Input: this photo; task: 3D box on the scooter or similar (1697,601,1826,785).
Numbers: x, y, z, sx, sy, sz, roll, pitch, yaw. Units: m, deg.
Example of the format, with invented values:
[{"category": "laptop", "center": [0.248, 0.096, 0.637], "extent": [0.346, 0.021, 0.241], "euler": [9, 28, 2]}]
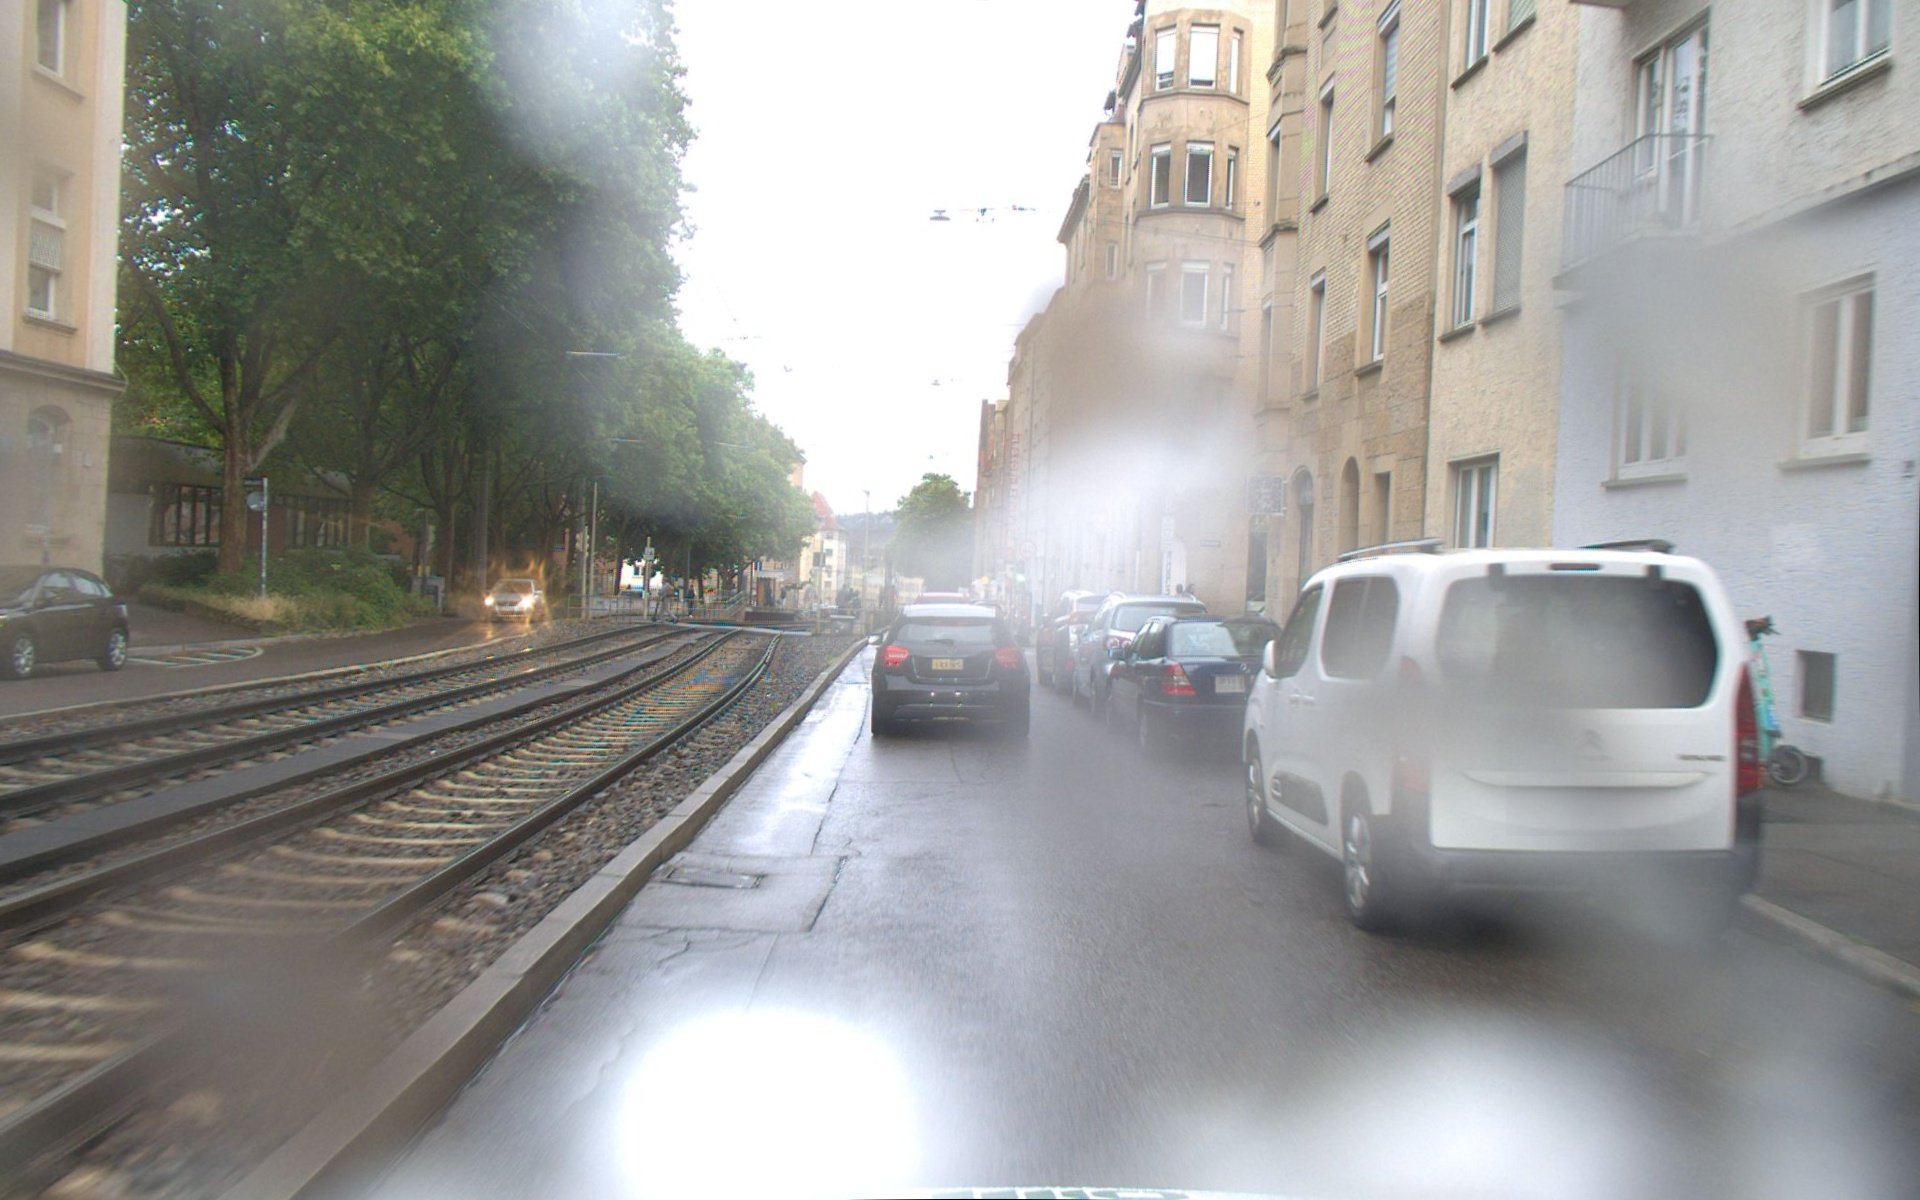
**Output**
[{"category": "scooter or similar", "center": [6.026, 0.670, 12.483], "extent": [0.379, 1.320, 1.171], "euler": [1, 0, -1]}]

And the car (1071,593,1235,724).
[{"category": "car", "center": [2.511, 0.727, 22.388], "extent": [1.659, 1.556, 3.999], "euler": [2, 0, -1]}]

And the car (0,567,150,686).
[{"category": "car", "center": [-12.511, 0.295, 22.065], "extent": [1.582, 1.454, 3.851], "euler": [1, 0, -2]}]

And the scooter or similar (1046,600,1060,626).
[{"category": "scooter or similar", "center": [4.898, 0.689, 87.177], "extent": [0.440, 1.344, 1.774], "euler": [0, 0, -8]}]

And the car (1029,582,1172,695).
[{"category": "car", "center": [2.279, 0.601, 27.829], "extent": [1.731, 1.697, 4.329], "euler": [2, 0, -4]}]

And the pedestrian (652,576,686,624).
[{"category": "pedestrian", "center": [-10.914, -0.007, 62.035], "extent": [1.033, 1.748, 0.904], "euler": [2, 0, 0]}]

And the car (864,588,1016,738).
[{"category": "car", "center": [-0.264, 0.663, 19.042], "extent": [1.548, 1.531, 3.573], "euler": [1, 0, -2]}]

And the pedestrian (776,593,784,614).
[{"category": "pedestrian", "center": [-14.799, 0.289, 136.206], "extent": [0.508, 1.747, 0.551], "euler": [3, -1, -1]}]

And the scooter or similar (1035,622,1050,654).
[{"category": "scooter or similar", "center": [3.631, 1.646, 72.529], "extent": [0.439, 1.344, 1.776], "euler": [0, 0, -4]}]

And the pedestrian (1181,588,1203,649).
[{"category": "pedestrian", "center": [6.557, 0.520, 46.757], "extent": [0.536, 1.718, 0.626], "euler": [1, 0, 3]}]

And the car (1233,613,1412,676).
[{"category": "car", "center": [9.376, 1.134, 43.006], "extent": [4.247, 1.558, 1.892], "euler": [0, 0, 0]}]

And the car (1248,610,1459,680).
[{"category": "car", "center": [8.815, 0.991, 37.344], "extent": [4.358, 1.510, 1.864], "euler": [0, 0, 1]}]

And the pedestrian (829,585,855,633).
[{"category": "pedestrian", "center": [-5.068, 0.367, 70.926], "extent": [1.115, 2.033, 1.171], "euler": [0, 0, -5]}]

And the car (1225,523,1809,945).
[{"category": "car", "center": [2.769, 0.578, 9.382], "extent": [1.791, 1.781, 4.467], "euler": [1, 0, 0]}]

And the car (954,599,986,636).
[{"category": "car", "center": [0.561, 1.003, 96.339], "extent": [1.724, 2.049, 3.999], "euler": [0, 0, -1]}]

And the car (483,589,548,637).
[{"category": "car", "center": [-15.099, 0.409, 56.333], "extent": [1.785, 1.531, 4.621], "euler": [2, 0, -11]}]

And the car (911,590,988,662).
[{"category": "car", "center": [-0.280, 0.603, 40.186], "extent": [1.749, 1.609, 3.999], "euler": [1, 0, -1]}]

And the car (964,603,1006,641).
[{"category": "car", "center": [1.143, 0.995, 76.544], "extent": [1.790, 1.646, 3.863], "euler": [0, 0, -1]}]

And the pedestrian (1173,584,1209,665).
[{"category": "pedestrian", "center": [5.267, 0.554, 37.715], "extent": [0.680, 1.818, 0.758], "euler": [-1, 0, -3]}]

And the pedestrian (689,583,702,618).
[{"category": "pedestrian", "center": [-14.002, 0.034, 87.547], "extent": [0.523, 1.784, 0.607], "euler": [3, -1, -1]}]

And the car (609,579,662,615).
[{"category": "car", "center": [-17.032, -0.168, 87.024], "extent": [1.953, 1.769, 4.000], "euler": [2, 0, 0]}]

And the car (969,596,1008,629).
[{"category": "car", "center": [1.371, 0.596, 81.380], "extent": [1.724, 1.606, 3.999], "euler": [0, 0, -1]}]

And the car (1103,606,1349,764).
[{"category": "car", "center": [2.617, 0.786, 17.299], "extent": [1.683, 1.370, 4.460], "euler": [2, 0, -2]}]

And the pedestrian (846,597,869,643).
[{"category": "pedestrian", "center": [-3.793, 0.732, 61.264], "extent": [0.789, 1.662, 0.892], "euler": [0, 0, -1]}]
